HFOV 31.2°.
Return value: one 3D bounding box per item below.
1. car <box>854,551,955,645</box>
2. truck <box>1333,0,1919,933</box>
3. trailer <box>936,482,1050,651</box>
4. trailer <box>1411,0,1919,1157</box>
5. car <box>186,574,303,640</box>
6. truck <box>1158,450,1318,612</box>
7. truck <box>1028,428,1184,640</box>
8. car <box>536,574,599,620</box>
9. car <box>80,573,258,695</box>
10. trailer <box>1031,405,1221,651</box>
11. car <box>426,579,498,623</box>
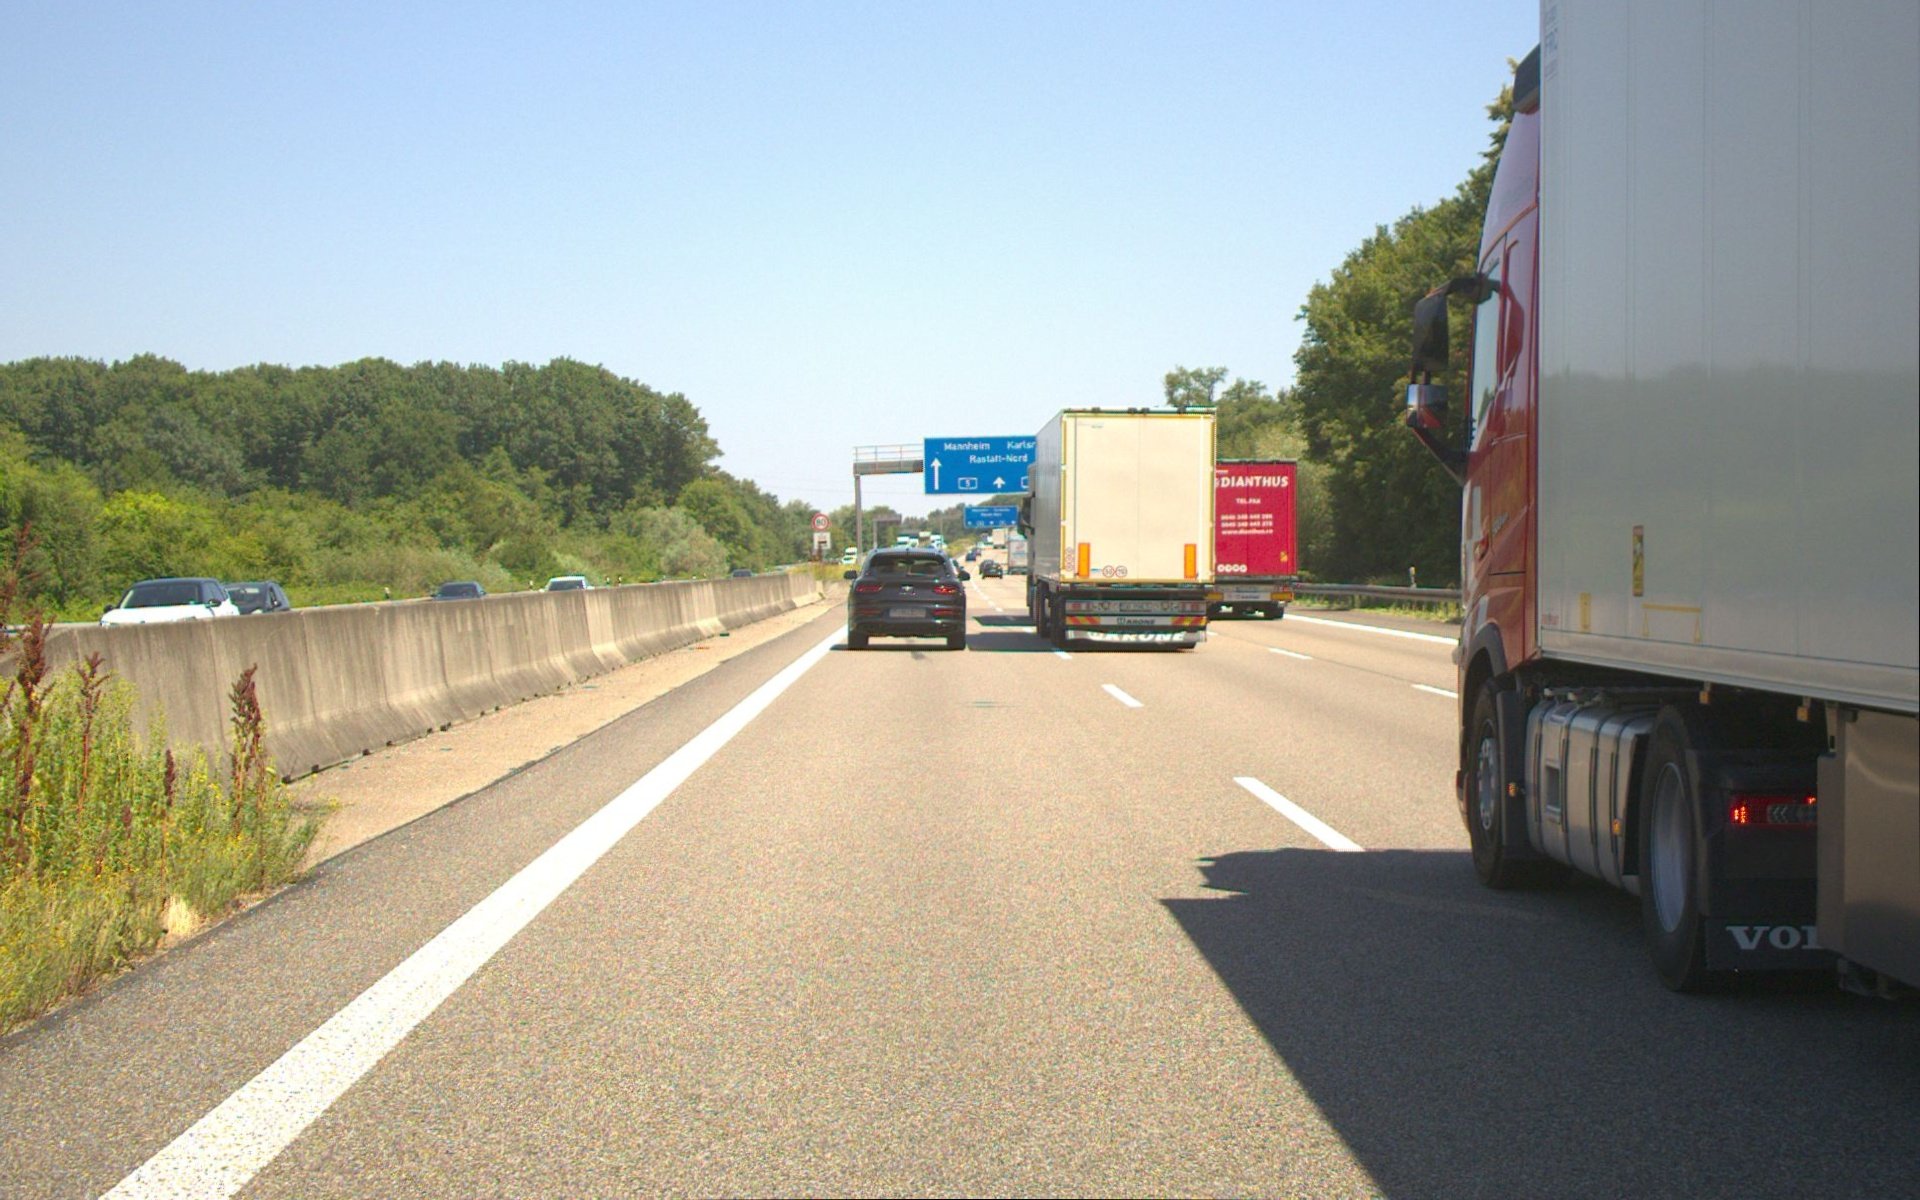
[{"bbox_3d":[-0.947,-0.060,58.731,1.660,1.544,3.783,-1,1,-1],"label":"car"},{"bbox_3d":[3.668,-0.699,16.648,2.941,3.972,6.102,1,0,-1],"label":"truck"},{"bbox_3d":[0.854,-0.829,90.071,2.708,4.054,14.746,0,0,0],"label":"trailer"},{"bbox_3d":[3.816,-0.637,8.747,2.937,4.004,16.201,1,1,-1],"label":"trailer"},{"bbox_3d":[-18.345,0.160,88.318,1.993,1.552,4.684,-2,1,0],"label":"car"},{"bbox_3d":[7.461,-1.821,94.188,3.055,4.092,13.219,1,1,-1],"label":"truck"},{"bbox_3d":[2.827,-1.282,68.084,2.800,3.993,6.021,0,1,0],"label":"truck"},{"bbox_3d":[-14.325,-0.125,125.711,1.773,1.533,4.684,-2,1,-1],"label":"car"},{"bbox_3d":[-14.167,0.571,61.847,1.993,2.007,4.939,-3,1,-1],"label":"car"},{"bbox_3d":[2.839,-1.254,62.477,2.795,4.021,12.568,0,1,0],"label":"trailer"},{"bbox_3d":[-18.199,0.017,125.800,1.908,1.474,4.825,-3,1,0],"label":"car"}]
